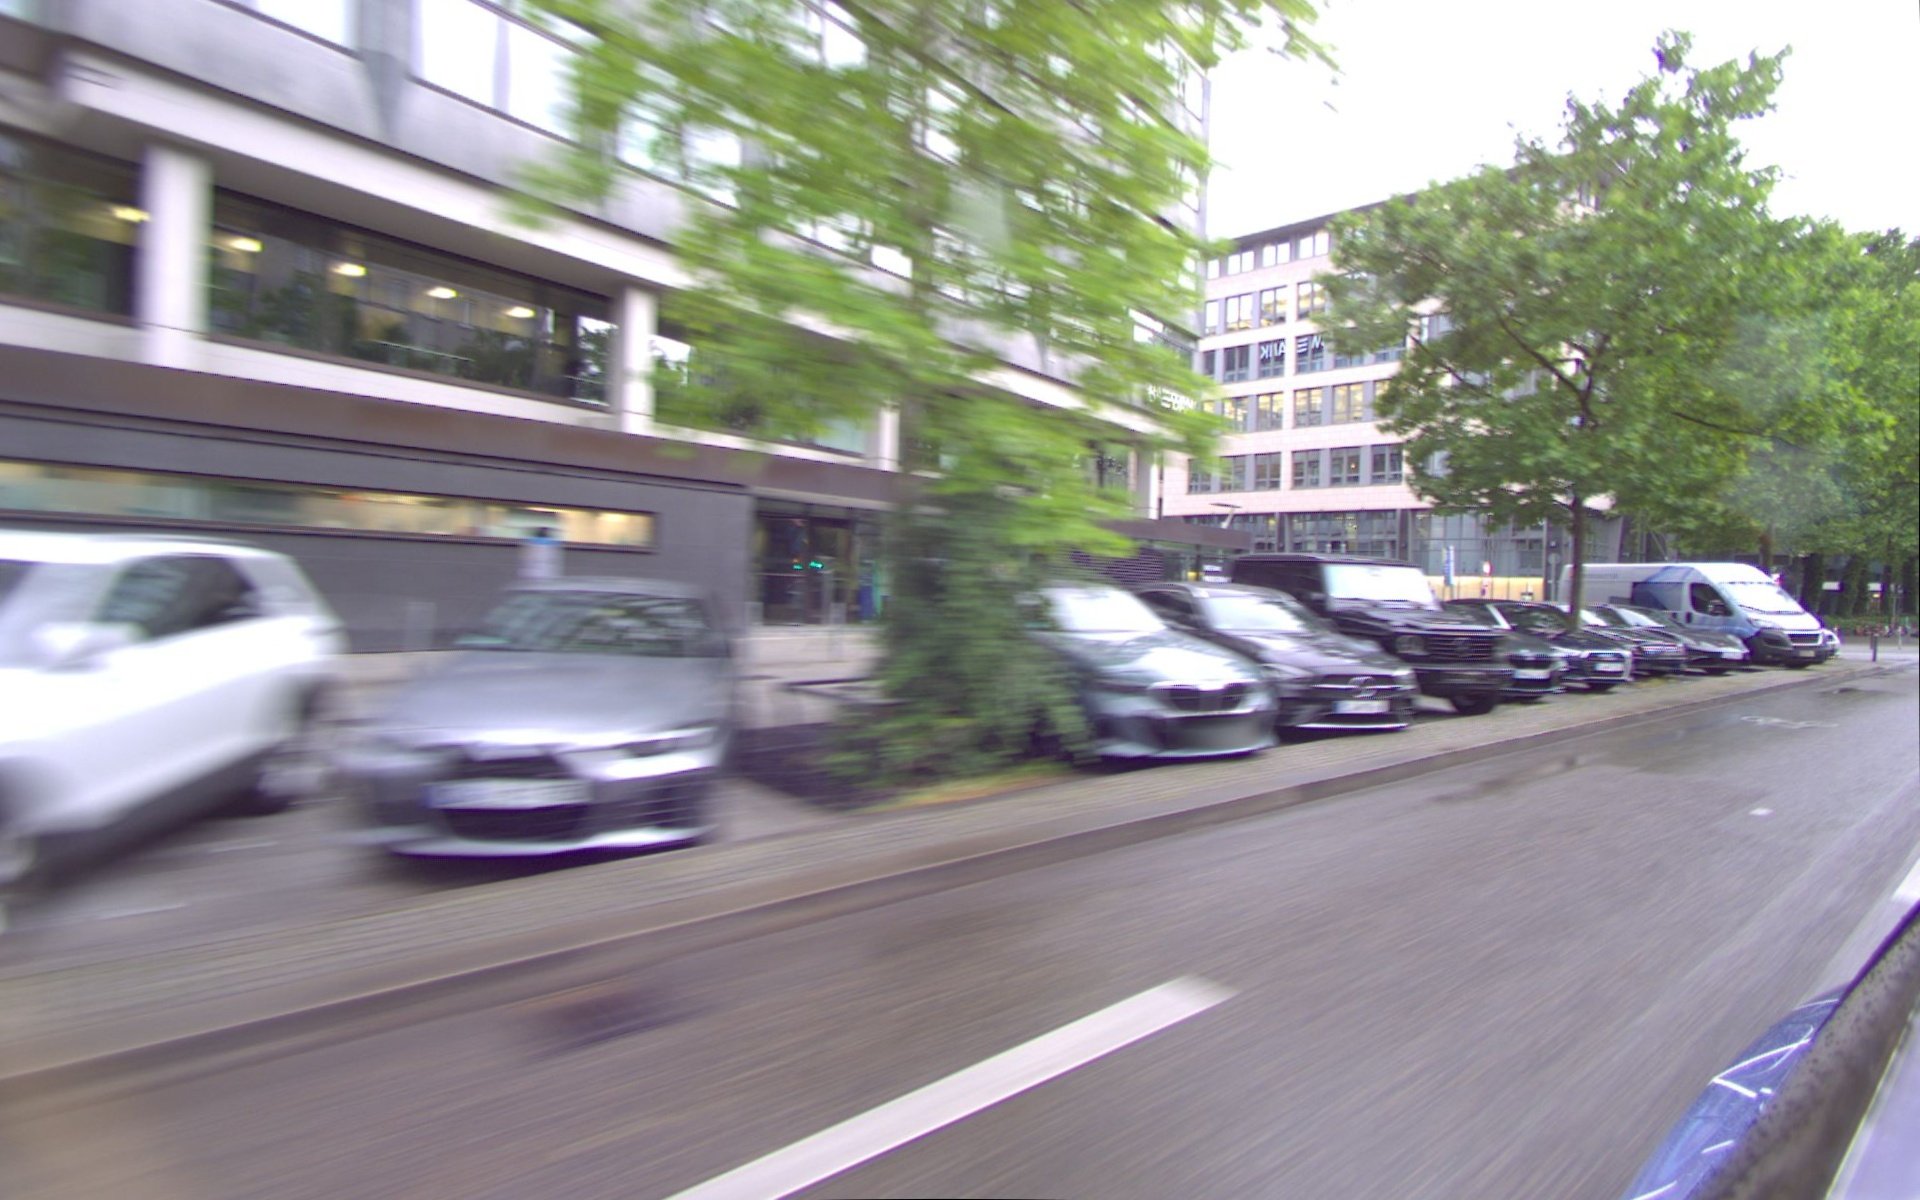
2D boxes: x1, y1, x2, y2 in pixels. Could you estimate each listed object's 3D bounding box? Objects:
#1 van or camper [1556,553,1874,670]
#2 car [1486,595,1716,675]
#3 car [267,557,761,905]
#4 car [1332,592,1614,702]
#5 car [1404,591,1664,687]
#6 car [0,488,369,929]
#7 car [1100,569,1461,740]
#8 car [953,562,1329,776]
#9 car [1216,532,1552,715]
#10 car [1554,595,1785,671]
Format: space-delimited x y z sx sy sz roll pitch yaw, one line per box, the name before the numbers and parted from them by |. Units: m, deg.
van or camper | 17.979 0.201 24.705 2.267 2.478 6.278 1 1 -11
car | 13.169 0.652 21.119 1.673 1.442 4.070 1 1 -12
car | -2.397 0.540 6.812 1.877 1.492 4.731 1 1 -9
car | 7.727 0.631 15.740 1.700 1.442 4.070 1 1 -12
car | 9.768 0.589 17.631 1.673 1.442 4.021 1 1 -12
car | -4.764 0.376 4.795 1.876 1.671 4.813 1 1 -11
car | 3.334 0.474 11.596 1.876 1.557 4.401 1 1 -14
car | 1.378 0.476 9.673 1.876 1.557 4.367 1 1 -14
car | 5.362 0.238 13.588 1.882 2.018 4.527 1 1 -12
car | 15.352 0.650 22.184 1.673 1.442 4.070 1 1 -12
